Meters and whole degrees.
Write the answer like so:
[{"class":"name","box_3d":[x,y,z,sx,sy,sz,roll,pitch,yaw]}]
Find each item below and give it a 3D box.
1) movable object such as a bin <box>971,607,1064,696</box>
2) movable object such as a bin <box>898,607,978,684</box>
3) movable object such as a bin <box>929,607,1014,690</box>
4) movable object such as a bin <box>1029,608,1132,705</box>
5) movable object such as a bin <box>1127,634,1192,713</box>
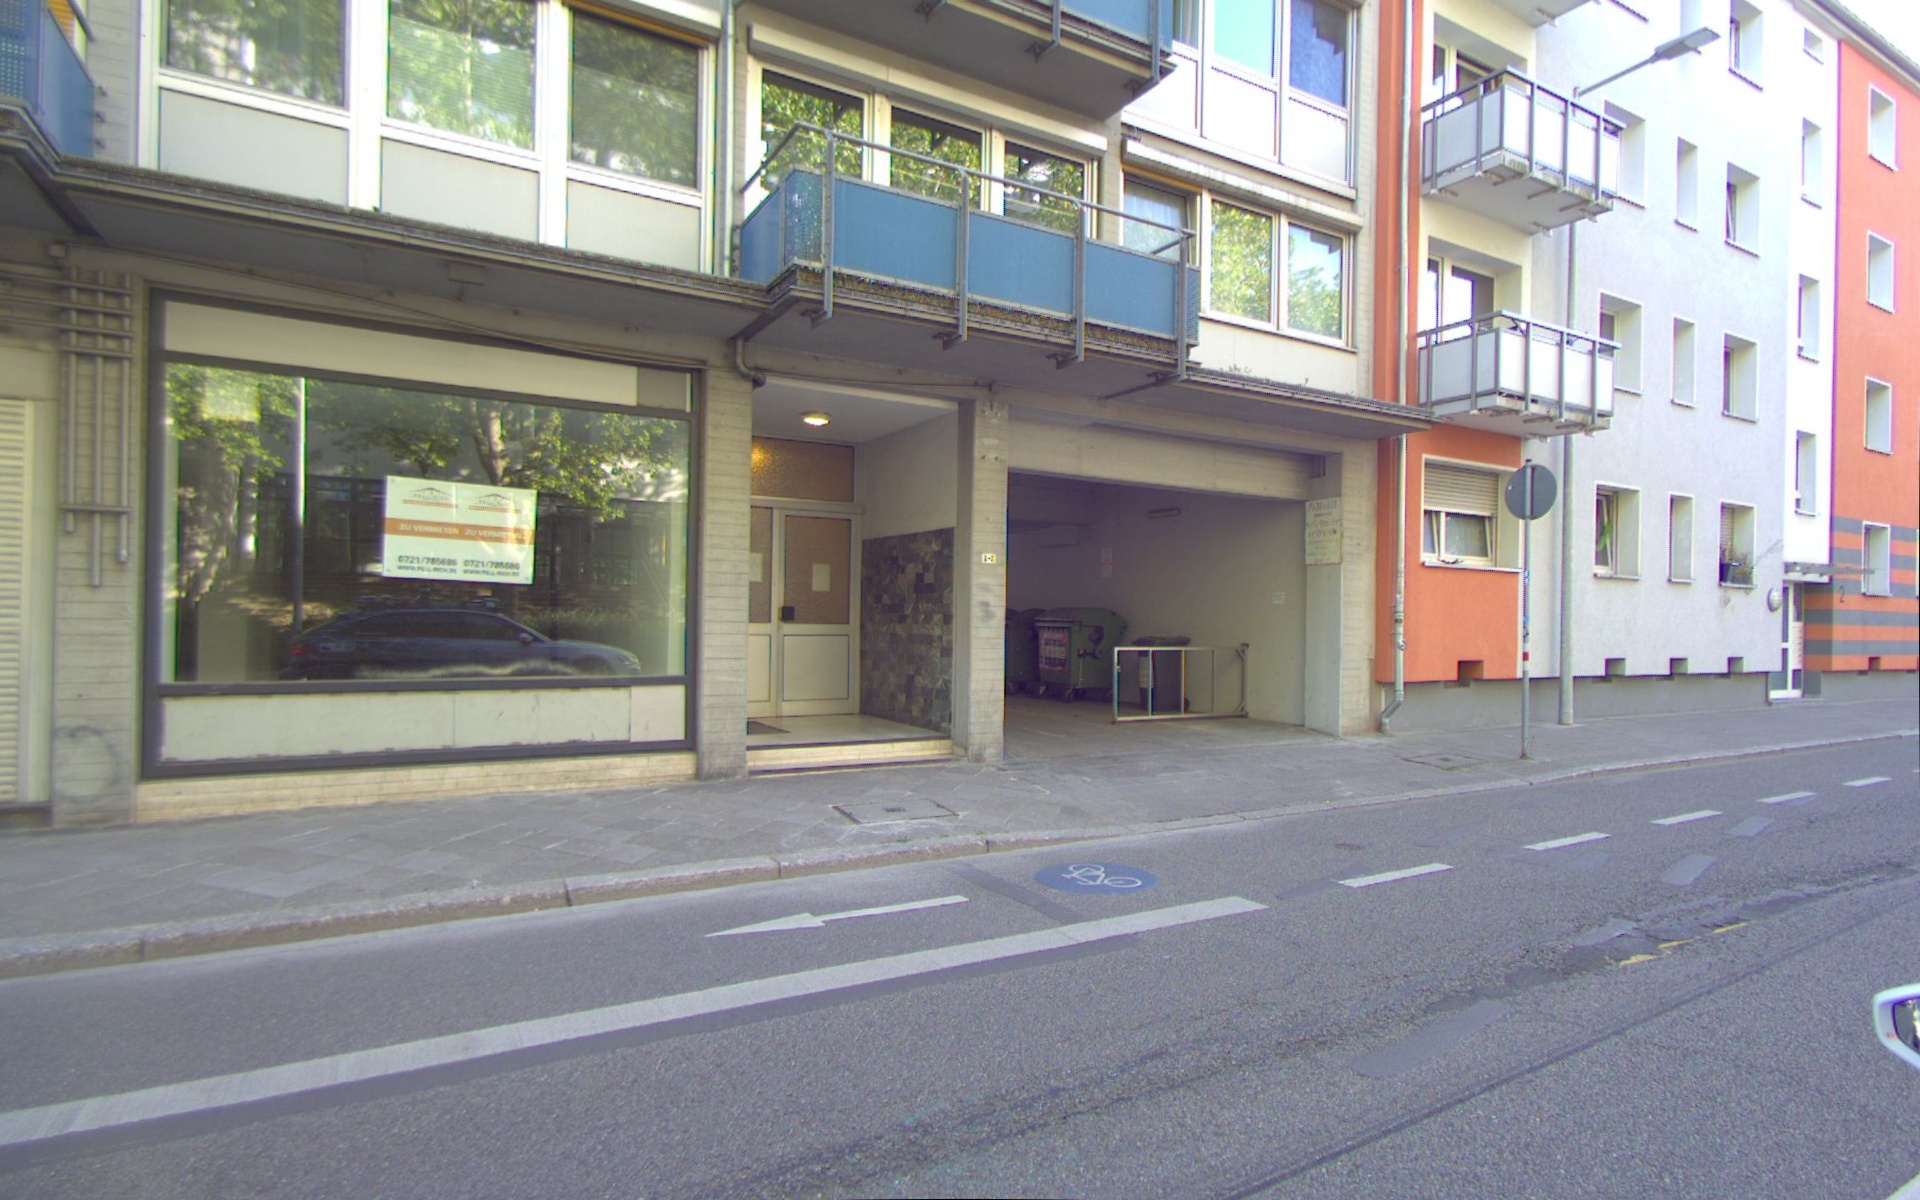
[{"class":"movable object such as a bin","box_3d":[0.971,0.857,17.174,1.116,1.444,1.201,1,0,-30]},{"class":"movable object such as a bin","box_3d":[-0.447,0.870,19.621,1.116,1.444,1.201,1,0,-30]},{"class":"movable object such as a bin","box_3d":[0.200,0.863,18.472,1.116,1.444,1.201,1,0,-30]},{"class":"movable object such as a bin","box_3d":[1.883,0.863,15.815,1.116,1.444,1.201,1,0,-30]},{"class":"movable object such as a bin","box_3d":[2.880,1.046,14.505,0.667,1.079,0.639,1,0,-30]}]
